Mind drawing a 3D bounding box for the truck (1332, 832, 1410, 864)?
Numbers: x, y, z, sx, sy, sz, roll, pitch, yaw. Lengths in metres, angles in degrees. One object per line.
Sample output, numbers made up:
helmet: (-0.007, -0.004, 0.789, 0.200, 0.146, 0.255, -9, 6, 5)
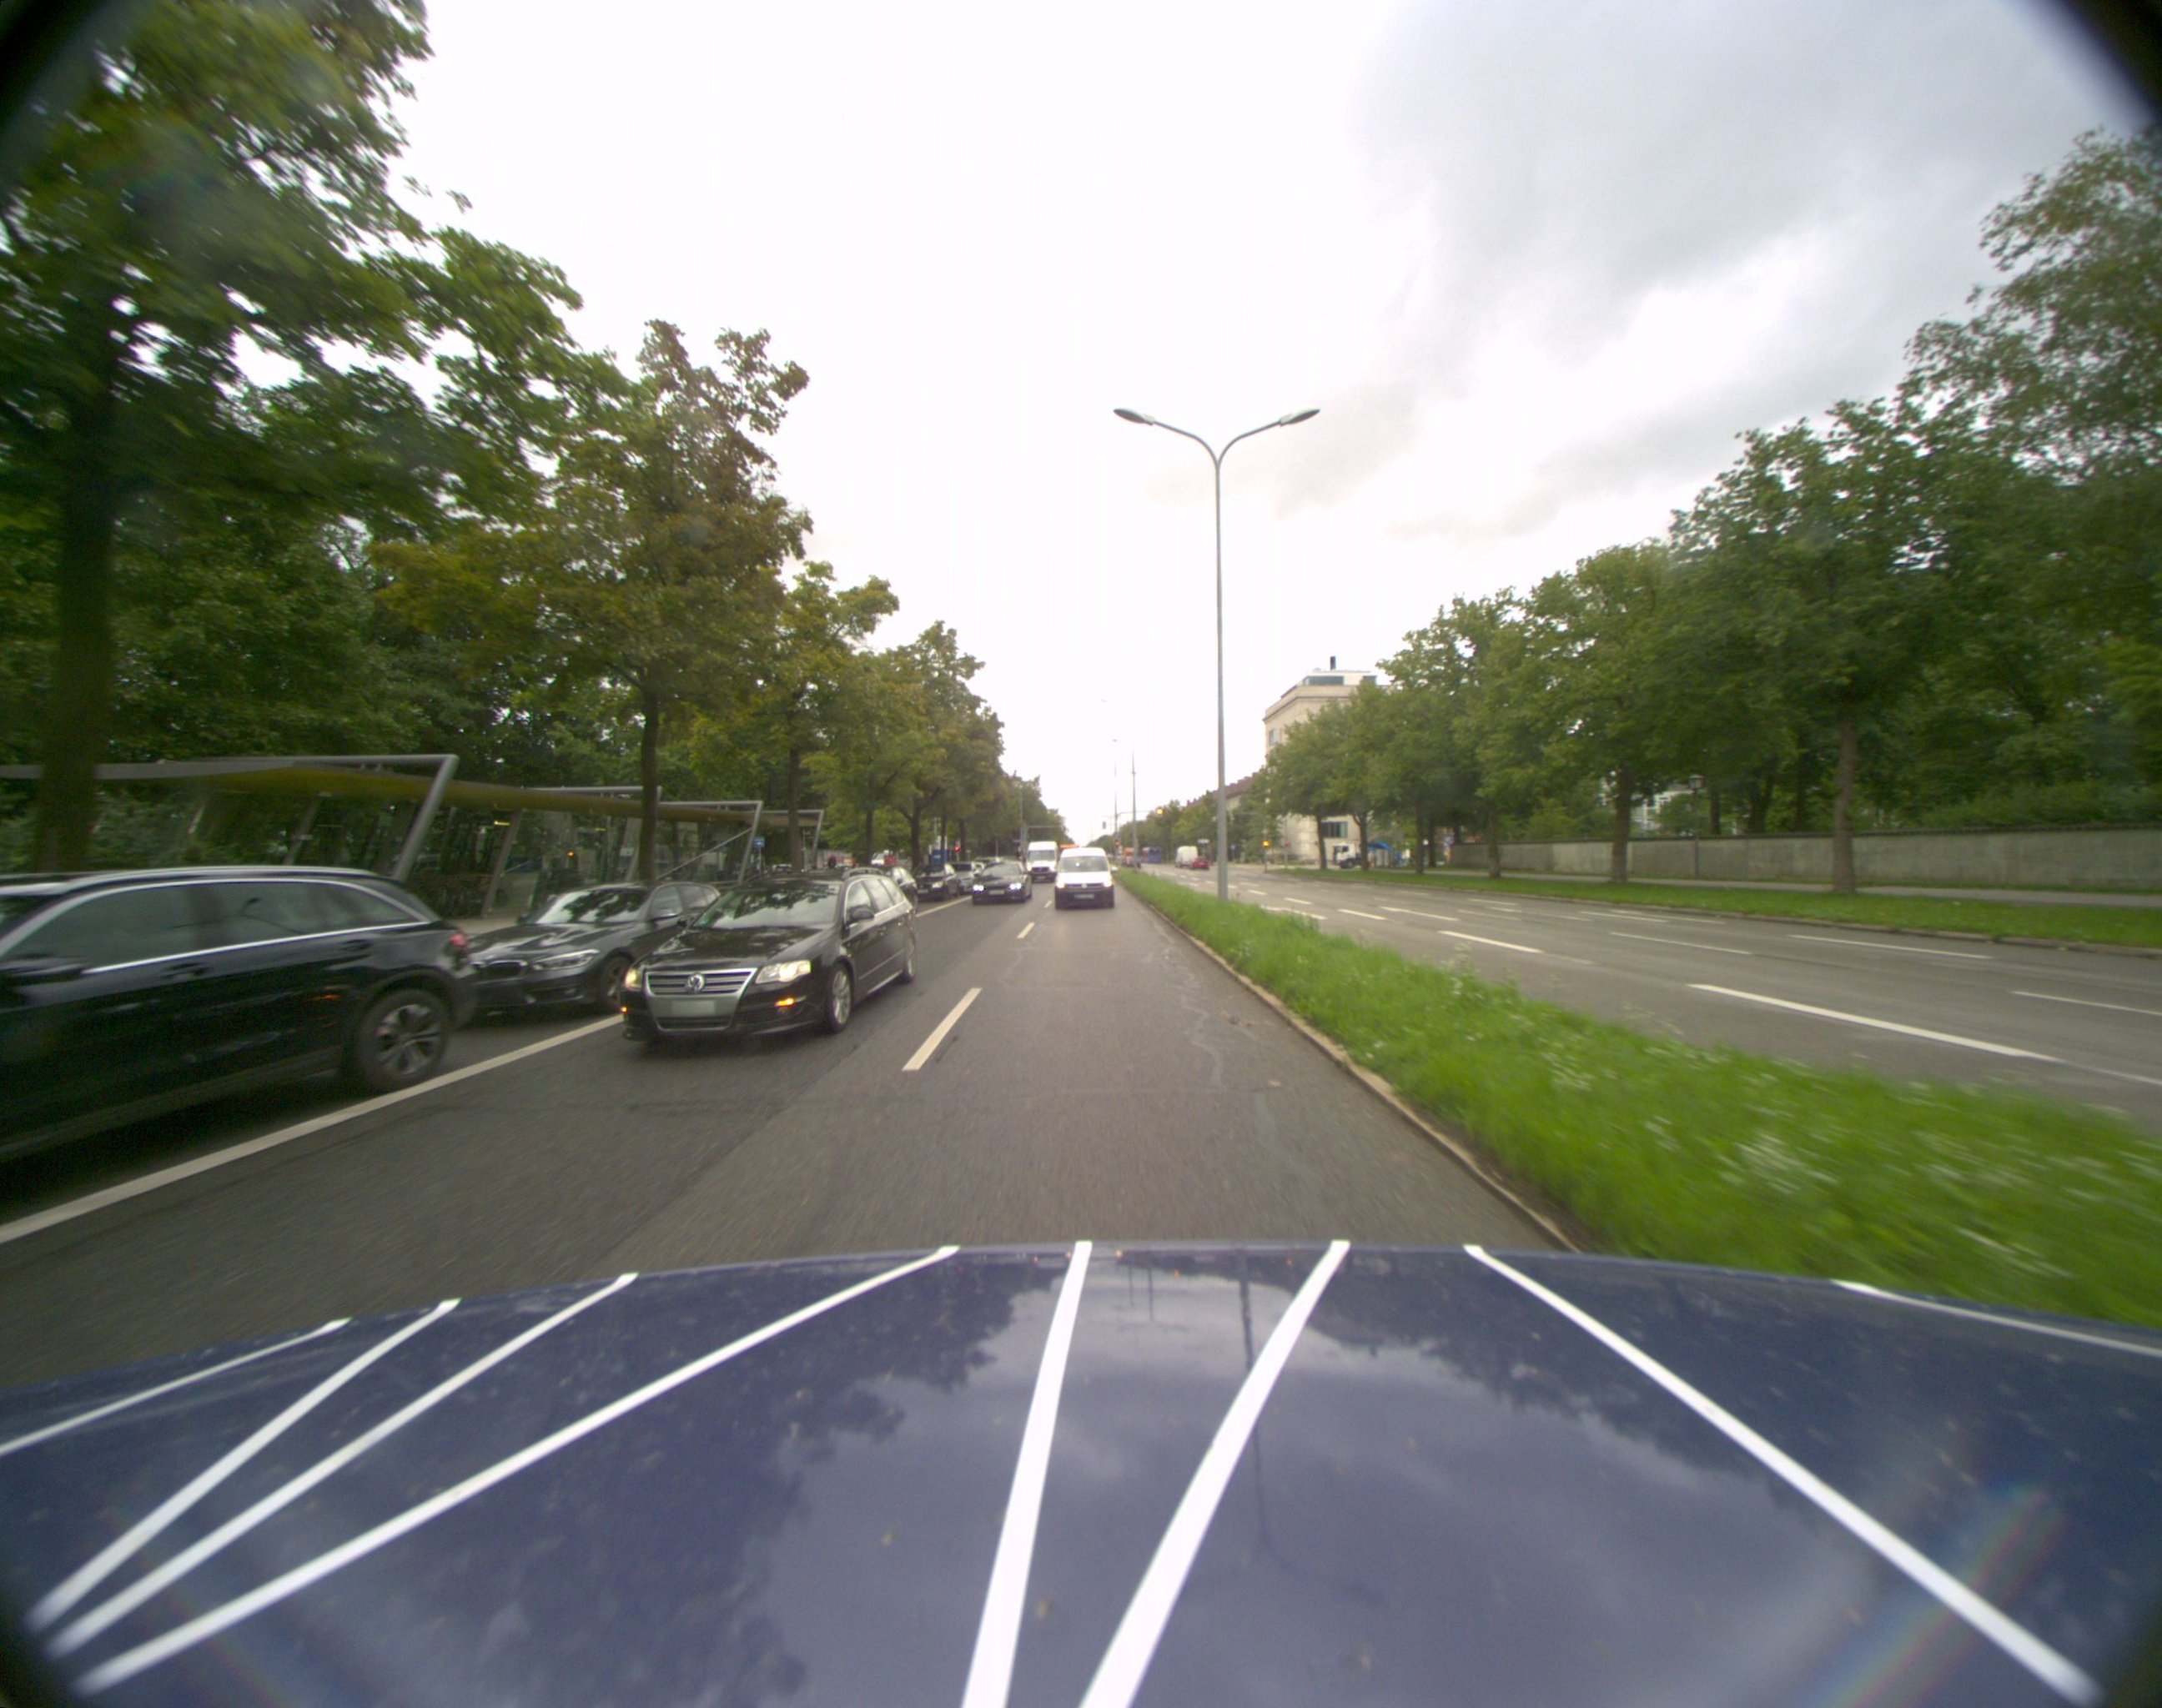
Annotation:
truck: (33.178, -0.672, 87.172, 7.817, 3.468, 2.772, -1, 1, 2)

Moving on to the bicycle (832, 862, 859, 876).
bicycle: (-20.452, 1.307, 66.053, 0.716, 1.147, 2.133, 0, 1, 41)

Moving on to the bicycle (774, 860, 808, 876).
bicycle: (-22.172, 1.085, 58.089, 2.344, 1.151, 0.529, 1, 0, 0)

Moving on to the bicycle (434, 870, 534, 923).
bicycle: (-16.136, 1.116, 20.634, 0.646, 1.273, 2.550, -1, 0, 1)

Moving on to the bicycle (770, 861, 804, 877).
bicycle: (-22.235, 1.120, 57.504, 2.344, 1.151, 0.529, 1, 0, 0)

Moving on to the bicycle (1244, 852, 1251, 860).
bicycle: (24.208, 0.267, 110.268, 0.546, 1.174, 1.826, -1, 0, 0)

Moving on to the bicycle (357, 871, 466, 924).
bicycle: (-18.145, 1.151, 20.690, 0.646, 1.273, 2.550, -1, 0, 1)

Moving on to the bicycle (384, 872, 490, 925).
bicycle: (-17.460, 1.164, 20.705, 0.646, 1.273, 2.550, -1, 0, 1)

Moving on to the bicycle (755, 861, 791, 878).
bicycle: (-22.286, 1.097, 55.033, 2.344, 1.151, 0.529, 1, 0, 0)

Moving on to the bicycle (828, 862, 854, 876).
bicycle: (-21.036, 1.329, 66.605, 0.716, 1.147, 2.133, 0, 1, 41)

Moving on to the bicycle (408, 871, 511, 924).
bicycle: (-16.807, 1.141, 20.644, 0.646, 1.273, 2.550, -1, 0, 1)

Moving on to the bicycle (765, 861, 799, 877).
bicycle: (-22.363, 1.096, 56.814, 2.344, 1.151, 0.529, 1, 0, 0)

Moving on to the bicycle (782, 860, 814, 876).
bicycle: (-22.075, 1.079, 59.272, 2.344, 1.151, 0.529, 1, 0, 0)

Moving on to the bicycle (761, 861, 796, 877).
bicycle: (-22.298, 1.095, 56.090, 2.344, 1.151, 0.529, 1, 0, 0)

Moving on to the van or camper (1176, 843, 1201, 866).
van or camper: (13.093, 0.040, 93.116, 2.183, 2.631, 6.951, 1, 0, 1)

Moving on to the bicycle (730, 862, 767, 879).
bicycle: (-22.835, 1.125, 52.204, 2.344, 1.151, 0.529, 1, 0, 0)

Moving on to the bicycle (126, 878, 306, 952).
bicycle: (-17.316, 1.168, 15.341, 0.646, 1.273, 2.550, -1, 0, 1)

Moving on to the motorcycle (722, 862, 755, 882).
motorcycle: (-21.342, 1.107, 47.370, 0.657, 1.170, 1.817, -1, 0, 26)

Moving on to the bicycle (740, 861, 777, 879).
bicycle: (-22.573, 1.113, 53.205, 2.344, 1.151, 0.529, 1, 0, 0)

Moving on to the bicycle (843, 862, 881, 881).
bicycle: (-14.323, 1.134, 49.745, 2.344, 1.151, 0.529, 1, 0, 0)

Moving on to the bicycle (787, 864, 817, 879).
bicycle: (-22.310, 1.391, 60.734, 2.133, 1.147, 0.716, -1, 1, -42)

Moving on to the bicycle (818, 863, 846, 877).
bicycle: (-20.590, 1.319, 62.883, 2.133, 1.147, 0.716, -1, 1, -45)

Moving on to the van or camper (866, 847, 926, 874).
van or camper: (-16.412, 0.563, 67.808, 2.144, 2.283, 6.207, -1, 0, 18)

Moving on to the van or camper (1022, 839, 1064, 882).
van or camper: (-2.388, 0.379, 49.571, 2.183, 2.546, 7.074, -1, 0, 1)

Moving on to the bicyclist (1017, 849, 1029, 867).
bicyclist: (-5.652, 0.385, 74.279, 0.829, 1.754, 0.744, -2, 1, -35)

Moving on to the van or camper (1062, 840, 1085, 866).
van or camper: (-0.924, -0.158, 100.516, 2.780, 3.219, 7.074, -1, 0, 1)

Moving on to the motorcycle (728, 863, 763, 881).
motorcycle: (-20.647, 1.094, 46.781, 0.657, 1.056, 1.817, -1, 0, 39)

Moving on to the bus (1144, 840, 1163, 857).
bus: (15.367, -1.169, 162.542, 2.752, 3.324, 12.047, 0, 0, -1)

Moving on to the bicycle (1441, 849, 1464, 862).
bicycle: (34.580, 0.114, 70.761, 0.837, 1.179, 2.496, -1, 0, 0)

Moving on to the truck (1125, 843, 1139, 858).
truck: (11.931, -0.783, 176.984, 2.787, 3.336, 7.265, -1, 0, 0)

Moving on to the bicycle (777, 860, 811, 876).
bicycle: (-22.156, 1.083, 58.680, 2.344, 1.151, 0.529, 1, 0, 0)

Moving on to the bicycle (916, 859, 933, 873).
bicycle: (-13.542, 1.046, 65.725, 0.863, 1.191, 2.000, 1, 0, 5)

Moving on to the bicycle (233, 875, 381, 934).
bicycle: (-18.297, 1.176, 18.015, 2.551, 1.273, 0.492, -1, 1, -14)

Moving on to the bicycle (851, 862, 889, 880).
bicycle: (-14.071, 1.121, 50.655, 2.346, 1.151, 0.529, 1, 0, -8)

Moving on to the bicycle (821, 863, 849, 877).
bicycle: (-20.842, 1.326, 64.357, 0.716, 1.147, 2.133, 0, 1, 41)
